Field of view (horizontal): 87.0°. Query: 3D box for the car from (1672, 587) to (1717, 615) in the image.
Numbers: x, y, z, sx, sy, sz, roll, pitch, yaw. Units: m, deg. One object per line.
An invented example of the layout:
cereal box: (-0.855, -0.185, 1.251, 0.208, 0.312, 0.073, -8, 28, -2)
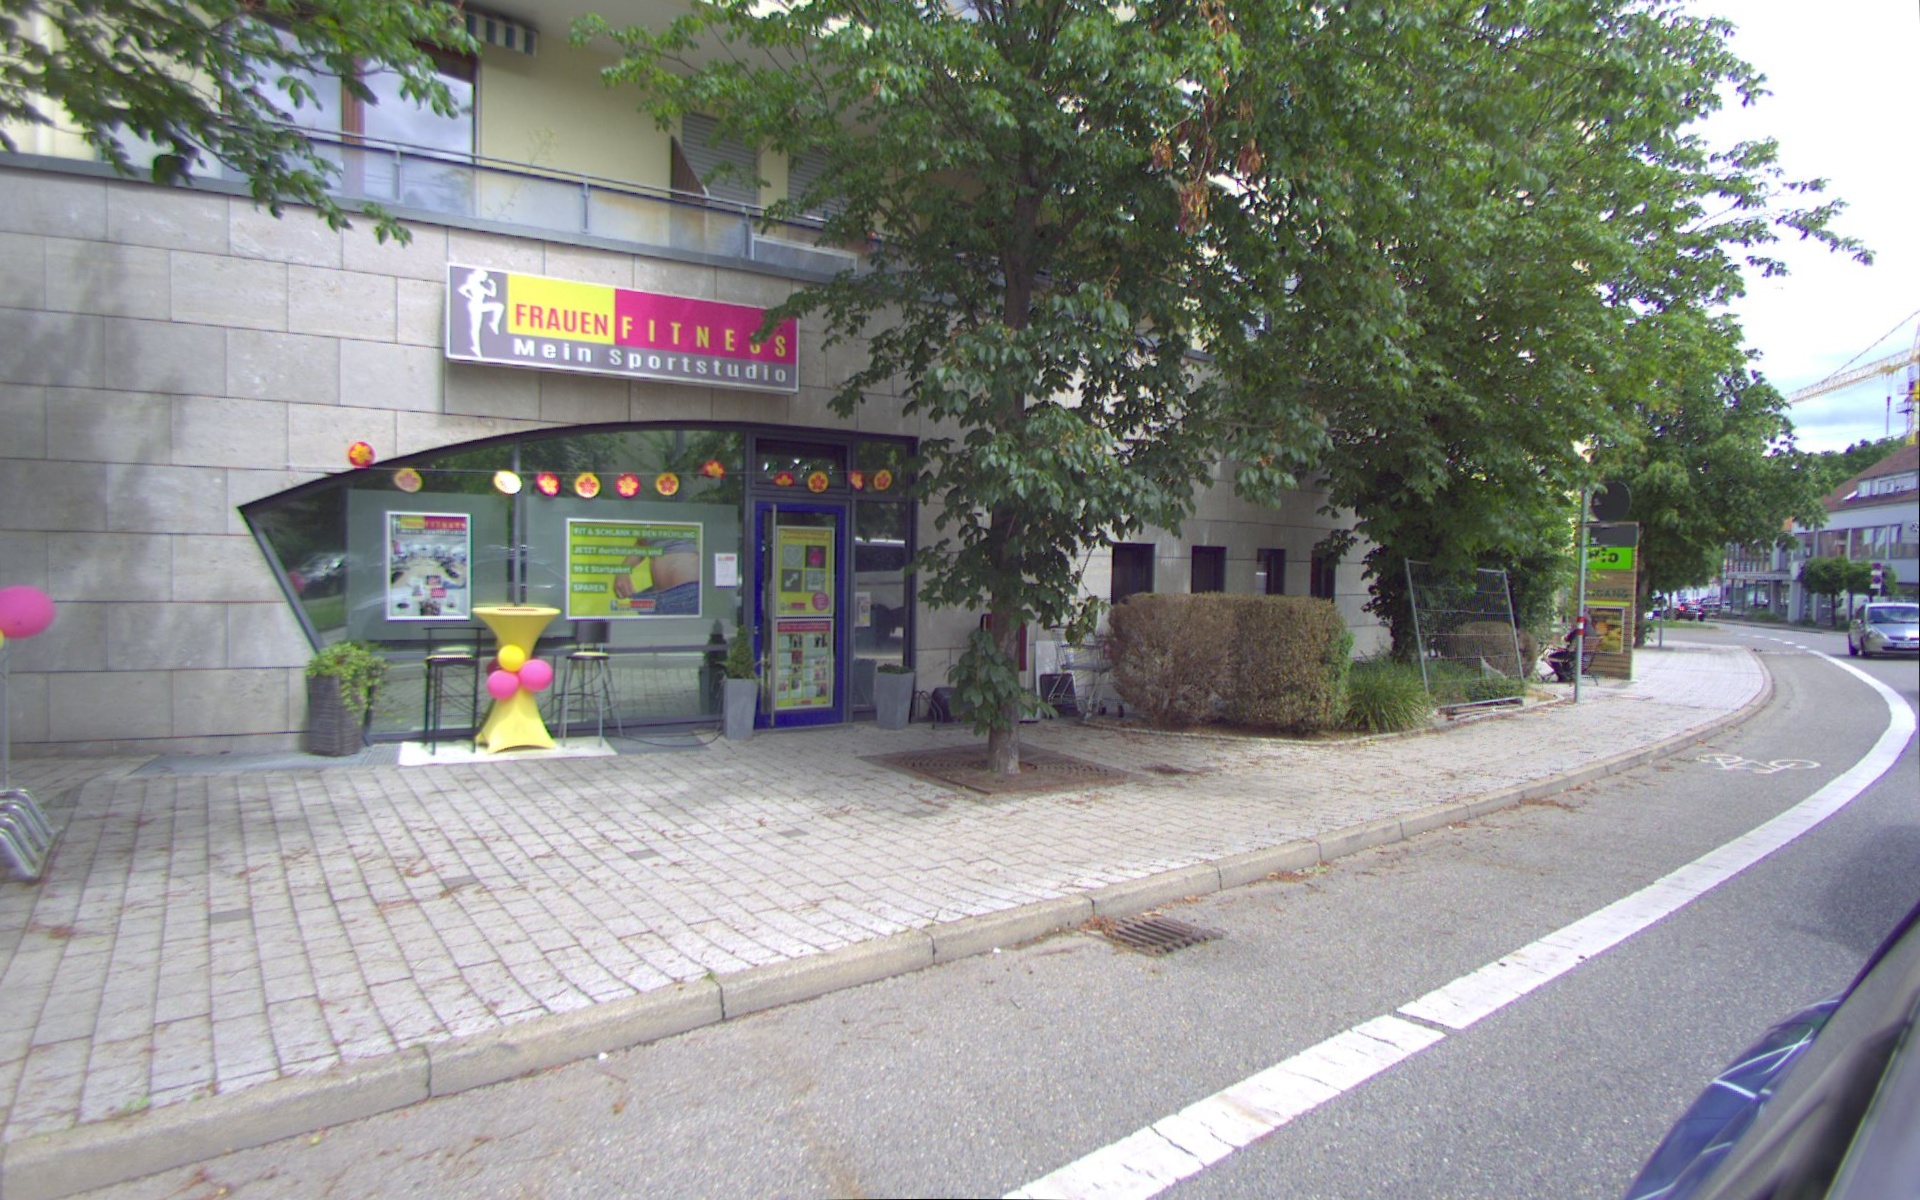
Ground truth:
car: (54.018, 0.035, 74.486, 1.722, 1.874, 3.970, 2, 2, 23)

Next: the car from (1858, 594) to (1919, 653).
car: (26.088, 0.598, 27.634, 3.928, 1.505, 1.693, -1, 0, -39)

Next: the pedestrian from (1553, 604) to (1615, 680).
pedestrian: (11.366, 0.740, 18.436, 0.741, 1.317, 0.730, 0, 2, -41)
